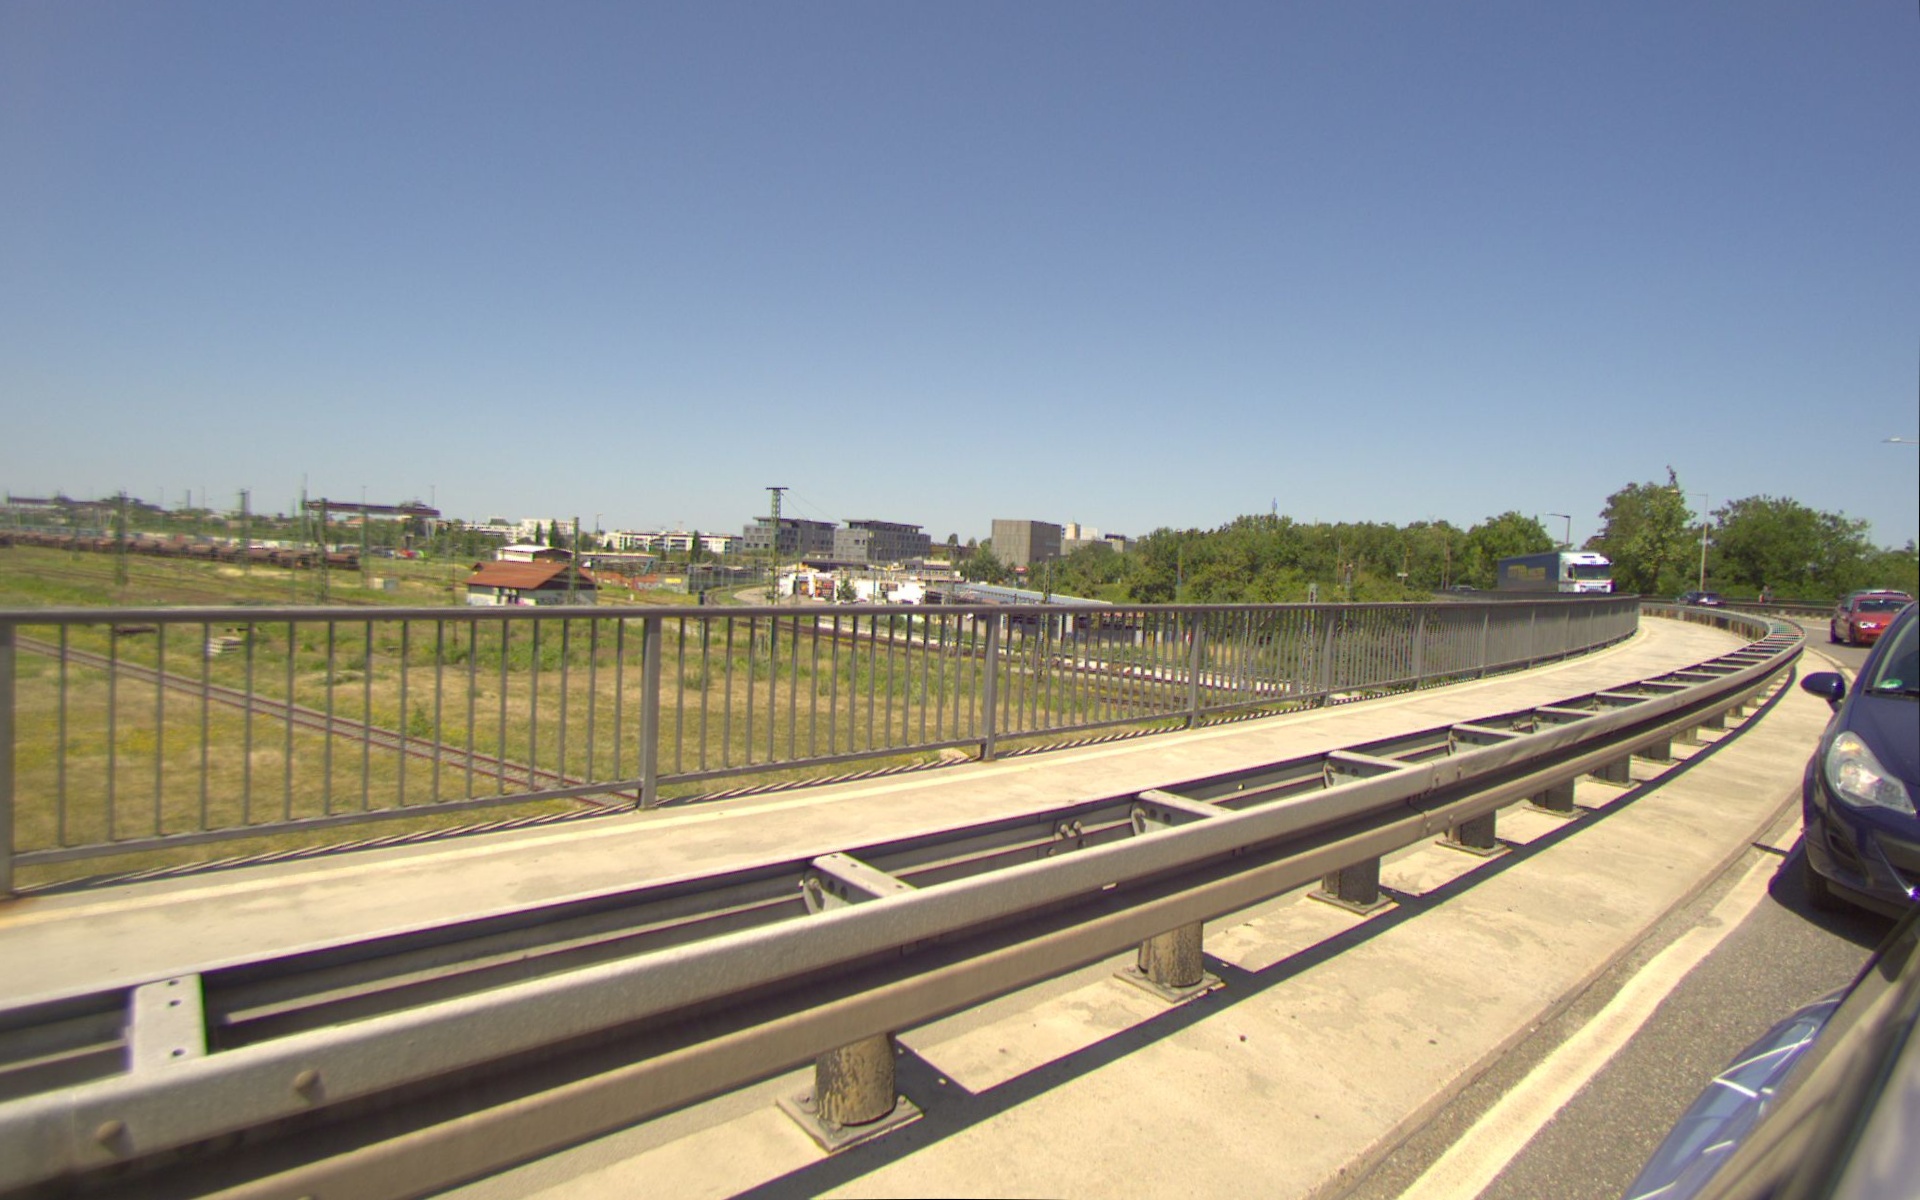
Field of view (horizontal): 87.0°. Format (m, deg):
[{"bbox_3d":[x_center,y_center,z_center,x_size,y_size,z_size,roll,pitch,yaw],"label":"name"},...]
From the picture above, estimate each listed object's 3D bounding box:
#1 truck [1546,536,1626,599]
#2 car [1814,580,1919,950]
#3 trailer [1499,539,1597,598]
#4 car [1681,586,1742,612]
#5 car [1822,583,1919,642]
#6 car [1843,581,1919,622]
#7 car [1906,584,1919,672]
[{"bbox_3d":[45.116,-2.292,73.217,2.654,4.281,6.817,-1,1,11],"label":"truck"},{"bbox_3d":[5.516,0.639,5.029,1.641,1.457,3.935,1,1,45],"label":"car"},{"bbox_3d":[46.529,-2.430,80.575,2.659,4.287,12.674,0,1,11],"label":"trailer"},{"bbox_3d":[45.131,-0.097,60.851,1.756,1.456,4.362,1,2,21],"label":"car"},{"bbox_3d":[25.589,0.289,27.940,1.779,1.473,4.478,1,2,28],"label":"car"},{"bbox_3d":[37.829,0.019,41.305,1.726,1.599,4.136,1,2,28],"label":"car"},{"bbox_3d":[18.234,0.455,18.143,1.790,1.473,4.451,1,1,44],"label":"car"}]
